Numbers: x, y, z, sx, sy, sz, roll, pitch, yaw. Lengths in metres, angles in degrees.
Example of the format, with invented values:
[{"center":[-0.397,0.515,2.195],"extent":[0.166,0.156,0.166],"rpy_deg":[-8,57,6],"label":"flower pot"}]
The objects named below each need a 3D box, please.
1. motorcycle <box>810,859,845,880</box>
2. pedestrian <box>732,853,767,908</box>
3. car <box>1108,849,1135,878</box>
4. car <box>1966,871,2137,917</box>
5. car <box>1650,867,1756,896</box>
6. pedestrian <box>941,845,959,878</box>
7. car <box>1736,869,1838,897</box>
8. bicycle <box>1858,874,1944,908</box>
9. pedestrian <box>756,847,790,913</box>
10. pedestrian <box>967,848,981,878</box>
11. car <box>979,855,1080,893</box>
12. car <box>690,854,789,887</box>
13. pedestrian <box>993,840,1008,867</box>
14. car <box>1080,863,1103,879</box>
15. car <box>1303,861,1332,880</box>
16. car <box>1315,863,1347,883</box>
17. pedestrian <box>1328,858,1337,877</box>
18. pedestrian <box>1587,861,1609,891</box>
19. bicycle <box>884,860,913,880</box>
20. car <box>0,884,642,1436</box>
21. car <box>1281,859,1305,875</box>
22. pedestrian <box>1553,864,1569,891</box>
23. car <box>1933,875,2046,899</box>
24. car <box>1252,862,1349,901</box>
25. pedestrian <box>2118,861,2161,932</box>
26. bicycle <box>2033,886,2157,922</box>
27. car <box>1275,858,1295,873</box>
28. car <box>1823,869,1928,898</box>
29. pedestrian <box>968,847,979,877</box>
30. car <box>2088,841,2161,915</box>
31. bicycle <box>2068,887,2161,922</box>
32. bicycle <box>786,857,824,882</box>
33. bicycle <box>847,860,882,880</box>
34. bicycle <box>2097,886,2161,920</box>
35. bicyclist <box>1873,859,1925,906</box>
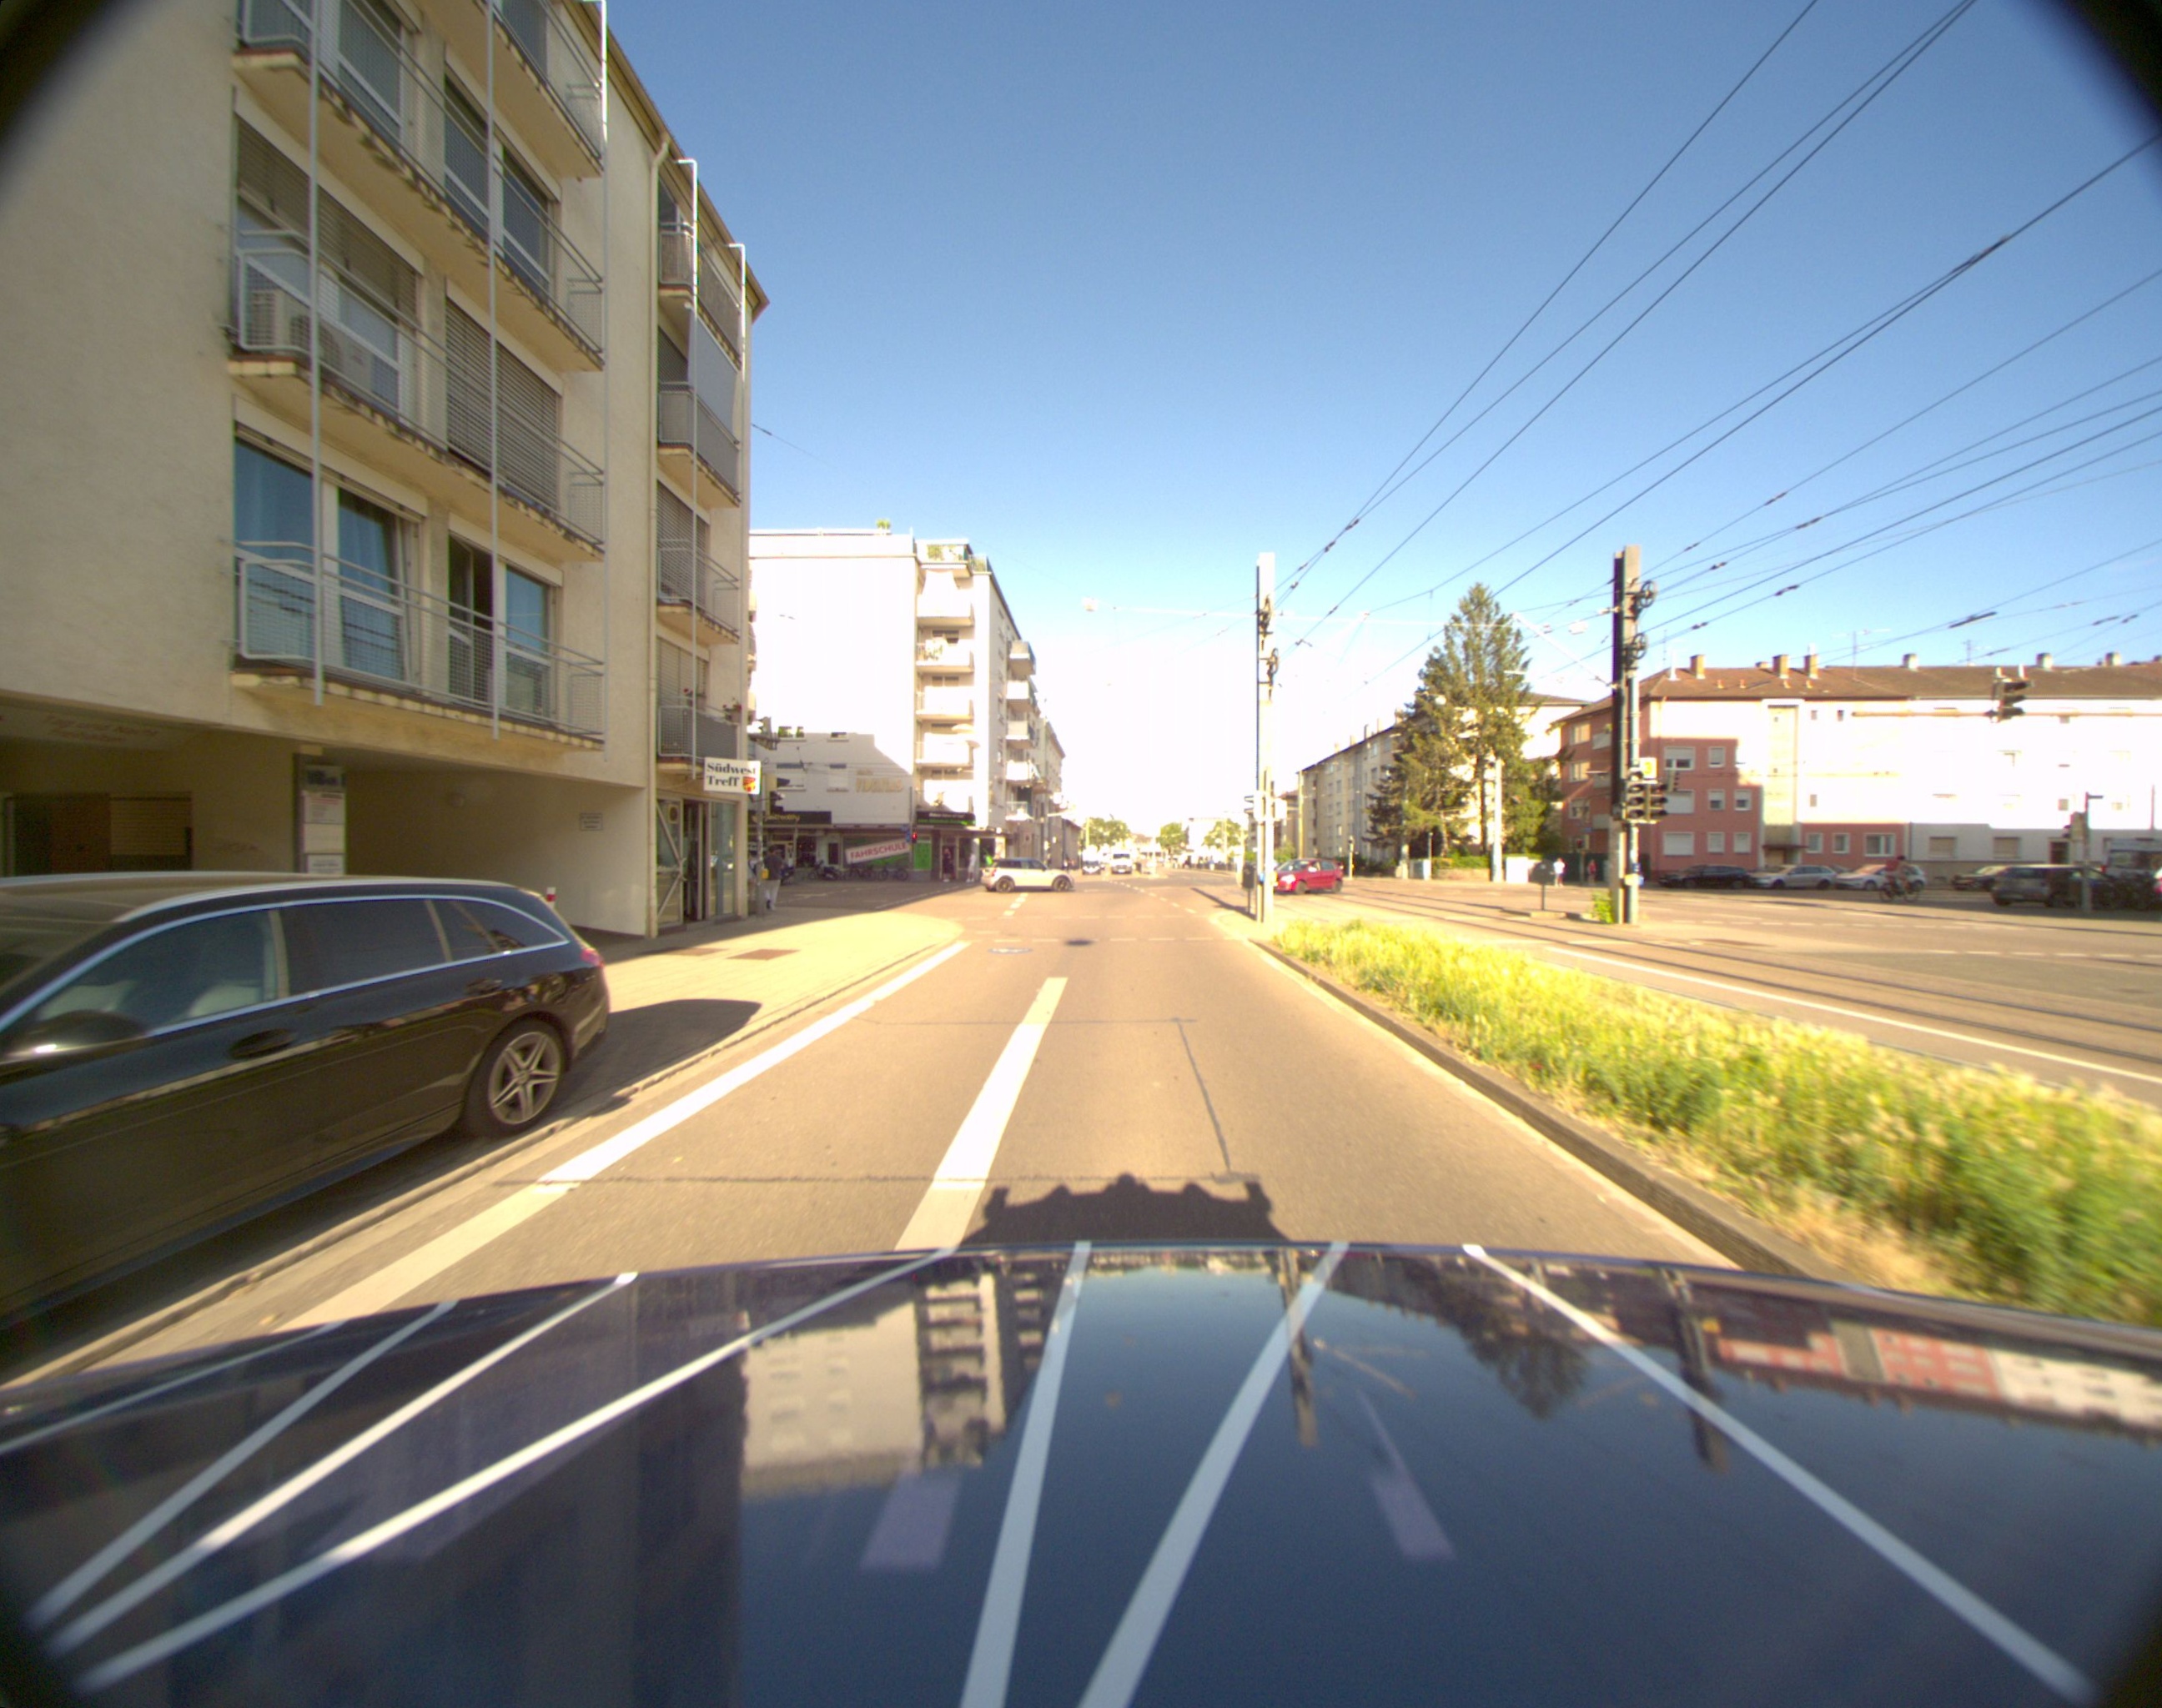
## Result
[{"center":[-14.346,0.892,43.016],"extent":[1.795,1.128,0.608],"rpy_deg":[0,3,0],"label":"motorcycle"},{"center":[-10.084,0.809,23.141],"extent":[0.731,1.613,0.542],"rpy_deg":[1,-3,26],"label":"pedestrian"},{"center":[3.945,0.908,73.440],"extent":[2.339,2.504,4.854],"rpy_deg":[1,3,5],"label":"car"},{"center":[33.757,1.375,26.503],"extent":[3.886,1.424,1.662],"rpy_deg":[0,3,-2],"label":"car"},{"center":[36.623,1.614,44.845],"extent":[4.437,1.424,2.160],"rpy_deg":[2,3,-1],"label":"car"},{"center":[-7.598,0.427,44.047],"extent":[0.737,1.889,0.575],"rpy_deg":[3,2,19],"label":"pedestrian"},{"center":[41.447,1.685,44.679],"extent":[4.098,1.429,1.909],"rpy_deg":[0,3,2],"label":"car"},{"center":[30.368,1.360,28.169],"extent":[2.061,1.175,0.814],"rpy_deg":[1,3,8],"label":"bicycle"},{"center":[-8.376,0.695,20.651],"extent":[0.689,1.732,1.039],"rpy_deg":[1,1,-31],"label":"pedestrian"},{"center":[-6.336,0.535,45.001],"extent":[0.661,1.782,0.738],"rpy_deg":[0,1,7],"label":"pedestrian"},{"center":[-2.156,0.788,31.861],"extent":[3.822,1.417,1.725],"rpy_deg":[-1,2,-26],"label":"car"},{"center":[-17.478,0.839,39.038],"extent":[4.235,1.495,1.773],"rpy_deg":[-1,3,-1],"label":"car"},{"center":[-5.048,-0.021,47.844],"extent":[0.700,1.641,0.760],"rpy_deg":[3,-1,3],"label":"pedestrian"},{"center":[1.035,1.584,71.663],"extent":[1.882,1.405,3.931],"rpy_deg":[1,0,5],"label":"car"},{"center":[23.269,1.608,74.989],"extent":[1.771,1.589,4.032],"rpy_deg":[0,2,3],"label":"car"},{"center":[22.779,1.684,69.245],"extent":[1.869,1.619,4.074],"rpy_deg":[1,1,5],"label":"car"},{"center":[25.239,1.373,76.262],"extent":[0.699,1.876,0.780],"rpy_deg":[1,3,6],"label":"pedestrian"},{"center":[30.783,1.317,45.229],"extent":[0.705,1.712,0.782],"rpy_deg":[-1,3,-26],"label":"pedestrian"},{"center":[-10.441,0.891,43.433],"extent":[1.537,1.100,0.552],"rpy_deg":[0,3,3],"label":"bicycle"},{"center":[-4.049,0.965,2.817],"extent":[1.888,1.390,4.742],"rpy_deg":[2,1,3],"label":"car"},{"center":[23.773,1.451,85.285],"extent":[1.660,1.549,3.788],"rpy_deg":[0,3,2],"label":"car"},{"center":[28.402,1.412,44.980],"extent":[0.573,1.560,0.518],"rpy_deg":[0,3,1],"label":"pedestrian"},{"center":[53.510,1.919,44.833],"extent":[4.279,1.232,1.952],"rpy_deg":[0,3,0],"label":"car"},{"center":[8.990,1.089,31.066],"extent":[3.835,1.477,1.780],"rpy_deg":[0,0,-34],"label":"car"},{"center":[27.596,1.085,19.438],"extent":[0.736,1.737,0.909],"rpy_deg":[0,3,1],"label":"pedestrian"},{"center":[31.525,1.524,23.693],"extent":[0.856,0.995,2.259],"rpy_deg":[0,-1,0],"label":"bicycle"},{"center":[24.094,1.312,89.869],"extent":[1.559,1.517,3.645],"rpy_deg":[0,3,2],"label":"car"},{"center":[46.598,1.722,44.596],"extent":[4.226,1.518,1.746],"rpy_deg":[0,3,1],"label":"car"},{"center":[-6.688,0.485,47.236],"extent":[0.598,1.845,0.518],"rpy_deg":[0,3,-3],"label":"pedestrian"},{"center":[38.761,0.821,26.197],"extent":[5.004,2.468,2.272],"rpy_deg":[0,2,-1],"label":"car"},{"center":[32.909,1.572,23.878],"extent":[0.856,0.995,2.259],"rpy_deg":[0,-1,0],"label":"bicycle"},{"center":[-14.636,0.813,40.343],"extent":[1.795,1.307,0.608],"rpy_deg":[0,3,0],"label":"bicycle"},{"center":[-12.332,0.925,43.223],"extent":[1.795,1.082,0.608],"rpy_deg":[0,3,0],"label":"bicycle"},{"center":[34.032,1.558,24.001],"extent":[0.856,0.995,2.259],"rpy_deg":[0,-1,0],"label":"bicycle"},{"center":[30.313,1.044,28.167],"extent":[0.934,1.683,0.814],"rpy_deg":[1,3,9],"label":"bicyclist"}]
